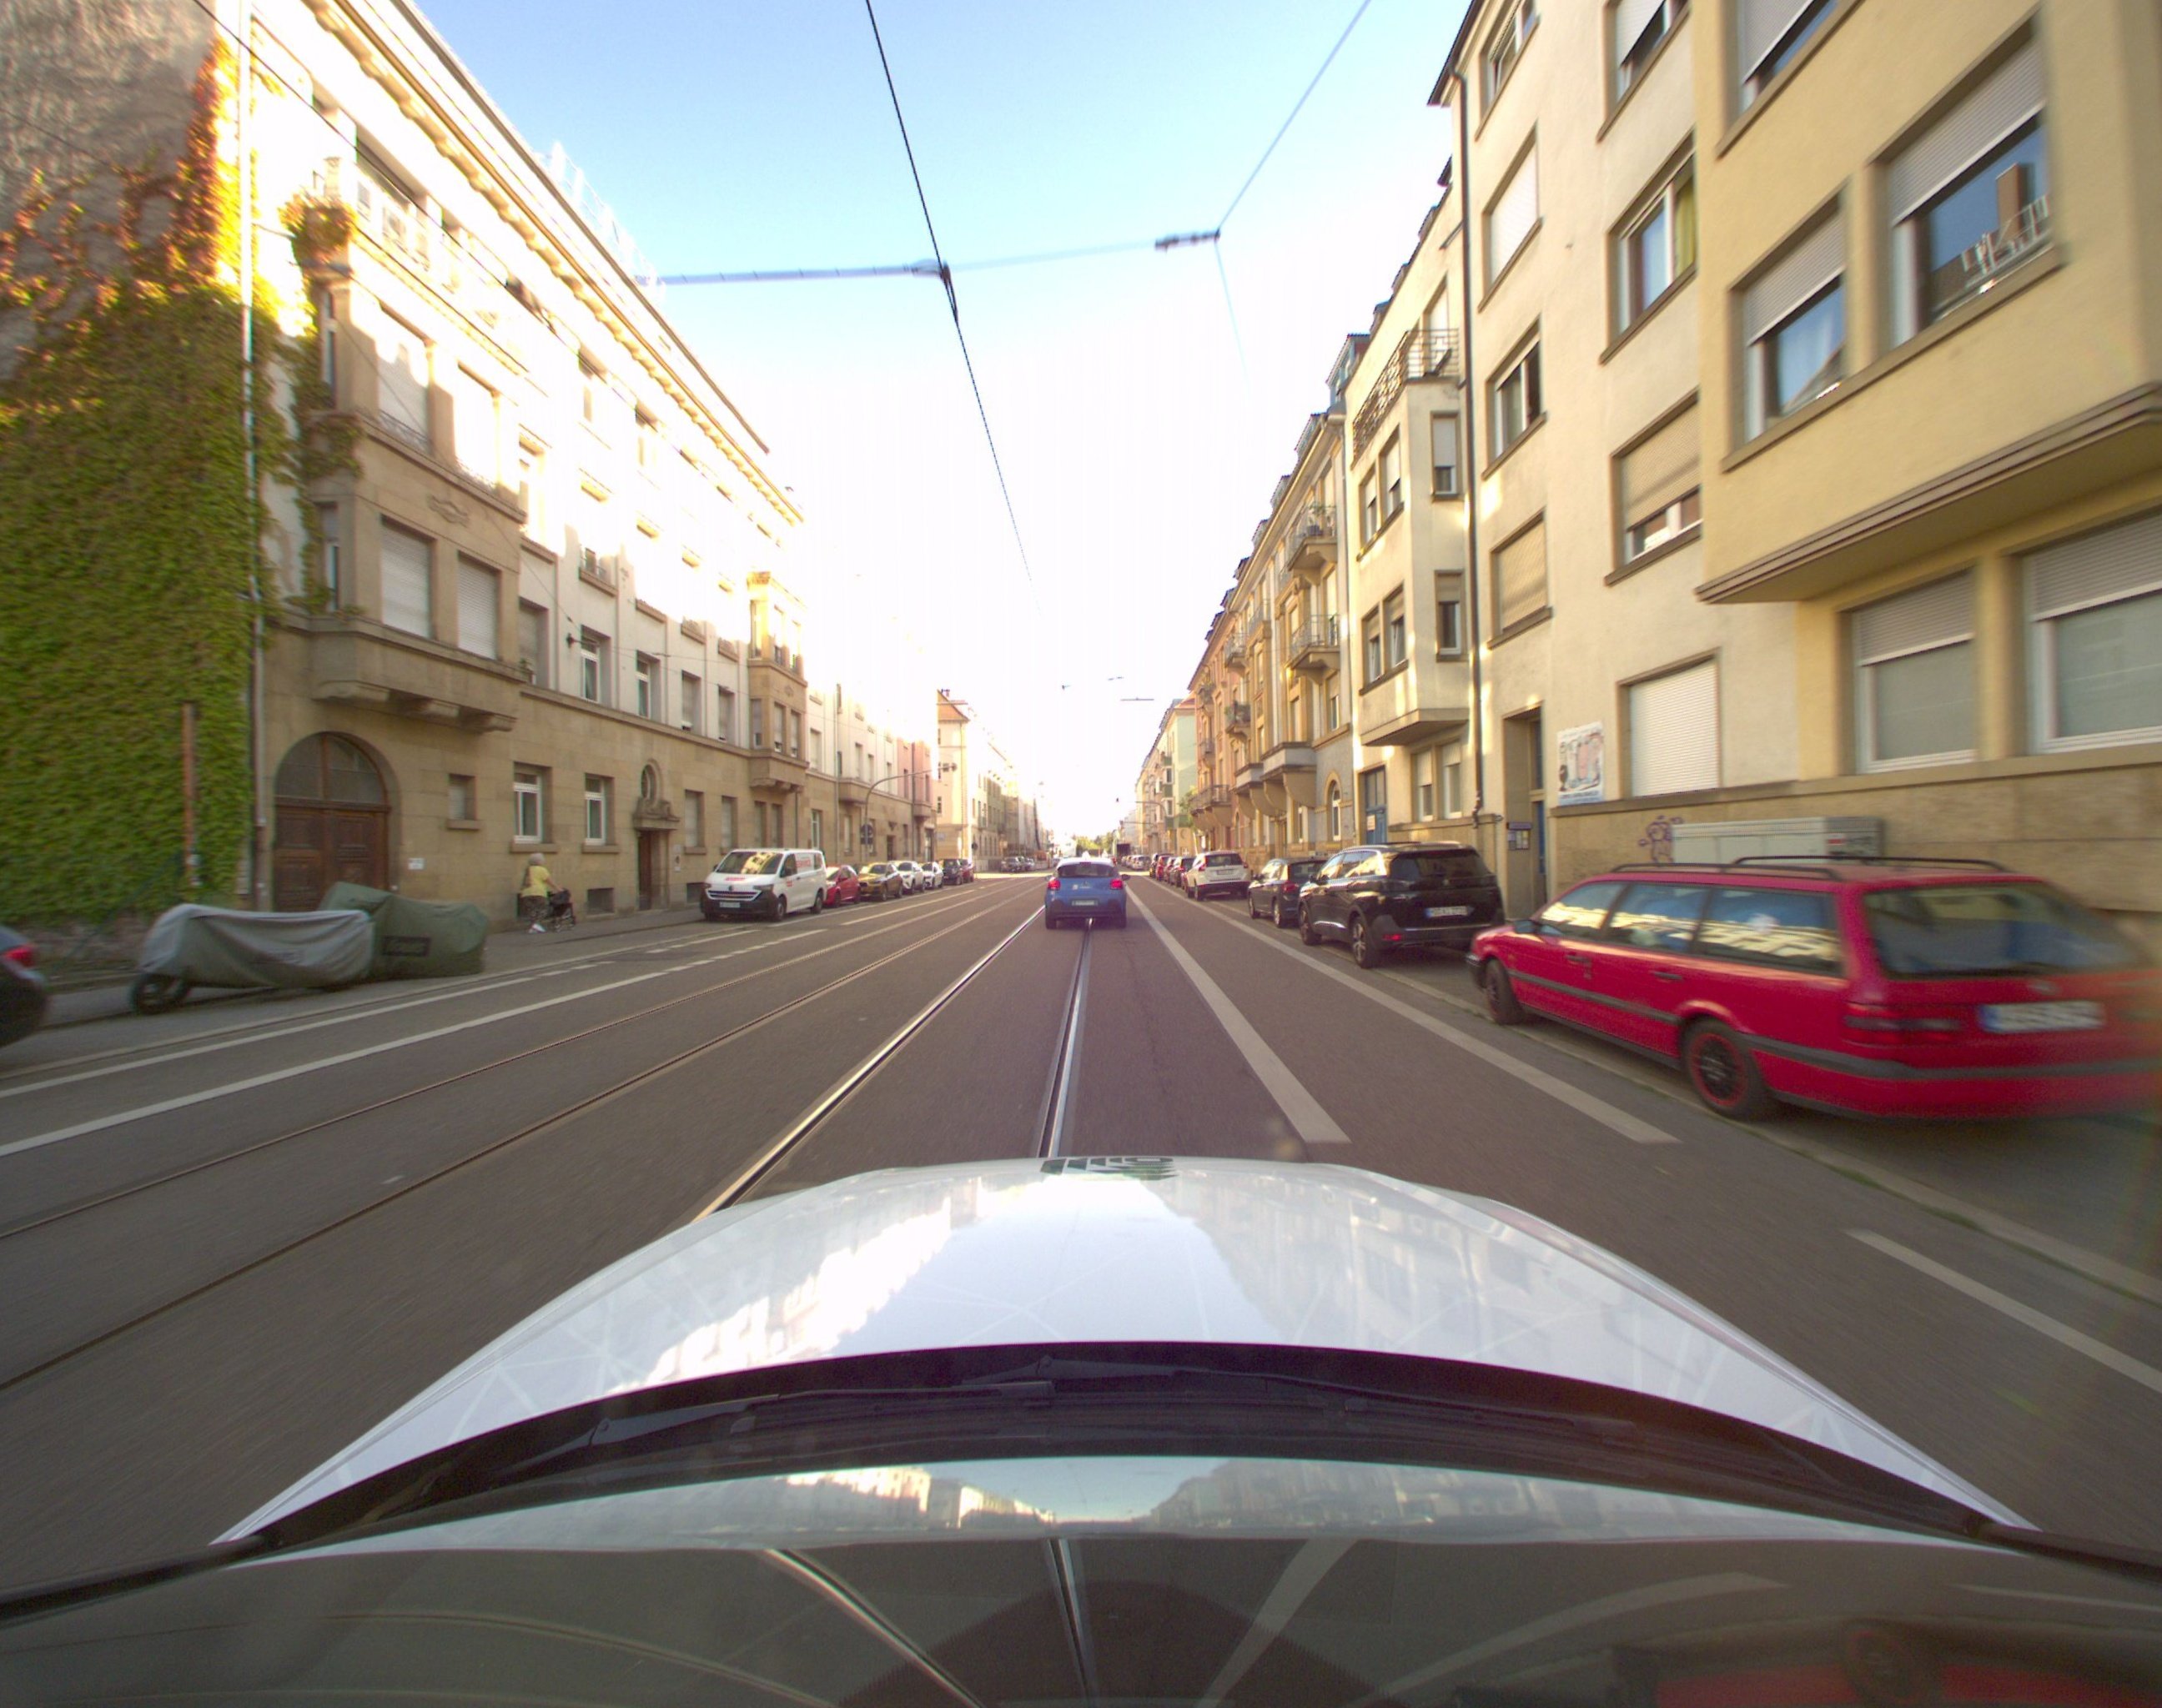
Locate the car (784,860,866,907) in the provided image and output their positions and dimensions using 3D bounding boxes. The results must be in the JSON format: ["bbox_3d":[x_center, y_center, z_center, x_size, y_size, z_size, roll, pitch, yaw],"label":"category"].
[{"bbox_3d":[-8.856,0.986,28.452,1.597,1.472,3.647,1,0,1],"label":"car"}]

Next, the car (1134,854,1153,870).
[{"bbox_3d":[6.420,0.799,83.877,1.777,1.632,4.002,-2,0,2],"label":"car"}]

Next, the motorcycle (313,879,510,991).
[{"bbox_3d":[-9.335,1.069,11.440,0.875,1.351,1.970,-1,0,34],"label":"motorcycle"}]

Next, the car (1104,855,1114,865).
[{"bbox_3d":[5.375,1.198,157.384,1.814,1.894,4.001,-1,0,1],"label":"car"}]

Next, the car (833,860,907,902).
[{"bbox_3d":[-8.414,1.026,32.787,1.777,1.523,4.360,1,0,0],"label":"car"}]

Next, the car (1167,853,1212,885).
[{"bbox_3d":[5.357,0.706,40.512,1.649,1.483,4.474,-1,0,0],"label":"car"}]

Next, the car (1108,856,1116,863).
[{"bbox_3d":[7.119,1.180,188.134,1.758,1.487,4.033,-2,0,2],"label":"car"}]

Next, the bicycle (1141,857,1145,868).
[{"bbox_3d":[5.998,0.787,79.018,0.351,1.044,1.730,-1,0,3],"label":"bicycle"}]

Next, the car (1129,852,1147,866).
[{"bbox_3d":[6.987,0.615,100.603,1.651,1.752,4.598,-2,0,-3],"label":"car"}]

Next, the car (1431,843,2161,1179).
[{"bbox_3d":[4.477,0.697,5.970,1.852,1.455,4.710,-1,0,1],"label":"car"}]

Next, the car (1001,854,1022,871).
[{"bbox_3d":[-7.189,0.817,84.248,1.778,1.690,4.666,1,0,-1],"label":"car"}]

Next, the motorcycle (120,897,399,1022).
[{"bbox_3d":[-9.537,1.154,9.583,0.732,1.171,2.194,-1,0,31],"label":"motorcycle"}]

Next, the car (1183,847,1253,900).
[{"bbox_3d":[4.777,0.654,28.974,1.836,1.691,4.506,-1,0,2],"label":"car"}]

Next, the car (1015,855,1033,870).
[{"bbox_3d":[-6.667,0.996,95.896,1.778,1.627,4.607,1,0,-1],"label":"car"}]

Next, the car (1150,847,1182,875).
[{"bbox_3d":[5.891,0.488,56.701,1.747,1.735,4.508,-5,0,2],"label":"car"}]

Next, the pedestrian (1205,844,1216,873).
[{"bbox_3d":[7.650,0.274,48.096,0.511,1.687,0.448,-1,0,1],"label":"pedestrian"}]

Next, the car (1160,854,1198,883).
[{"bbox_3d":[5.434,0.765,45.597,1.648,1.513,4.475,-1,0,2],"label":"car"}]

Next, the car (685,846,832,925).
[{"bbox_3d":[-8.835,0.792,22.903,1.966,1.949,5.252,1,0,0],"label":"car"}]

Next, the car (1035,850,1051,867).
[{"bbox_3d":[-5.574,0.689,119.108,2.138,2.475,4.978,0,0,-1],"label":"car"}]

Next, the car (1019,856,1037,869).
[{"bbox_3d":[-6.583,1.019,101.947,1.711,1.502,4.391,1,0,3],"label":"car"}]

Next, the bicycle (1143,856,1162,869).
[{"bbox_3d":[7.082,0.849,80.892,1.716,1.154,0.469,-5,0,1],"label":"bicycle"}]

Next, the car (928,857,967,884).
[{"bbox_3d":[-8.017,0.949,49.219,1.777,1.553,3.020,1,0,1],"label":"car"}]

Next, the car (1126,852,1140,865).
[{"bbox_3d":[7.199,0.623,112.992,1.724,1.827,4.688,-2,0,2],"label":"car"}]

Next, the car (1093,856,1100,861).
[{"bbox_3d":[4.595,1.355,241.957,1.819,1.632,4.492,-2,0,2],"label":"car"}]

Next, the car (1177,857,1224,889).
[{"bbox_3d":[5.163,0.782,35.546,1.647,1.249,4.509,-1,0,4],"label":"car"}]

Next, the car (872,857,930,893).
[{"bbox_3d":[-8.386,0.935,38.213,1.766,1.547,4.364,1,0,-1],"label":"car"}]

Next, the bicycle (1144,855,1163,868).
[{"bbox_3d":[6.962,0.744,78.523,1.716,1.154,0.469,-5,0,1],"label":"bicycle"}]

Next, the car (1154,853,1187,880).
[{"bbox_3d":[5.478,0.744,50.196,1.746,1.594,3.732,-1,0,3],"label":"car"}]

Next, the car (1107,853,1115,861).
[{"bbox_3d":[9.021,0.928,247.185,2.211,2.284,4.085,-2,0,2],"label":"car"}]

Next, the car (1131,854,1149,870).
[{"bbox_3d":[6.461,0.869,89.630,1.777,1.576,4.328,-2,0,2],"label":"car"}]

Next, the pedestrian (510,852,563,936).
[{"bbox_3d":[-11.424,0.834,17.107,0.677,1.724,0.616,-1,0,1],"label":"pedestrian"}]

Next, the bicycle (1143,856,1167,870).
[{"bbox_3d":[6.925,0.871,76.049,2.079,1.154,0.848,-4,0,1],"label":"bicycle"}]

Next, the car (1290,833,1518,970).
[{"bbox_3d":[4.619,0.597,12.475,1.851,1.665,4.565,-1,0,3],"label":"car"}]

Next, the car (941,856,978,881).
[{"bbox_3d":[-7.997,0.916,53.851,1.778,1.606,4.396,1,0,-1],"label":"car"}]

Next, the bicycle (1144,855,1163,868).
[{"bbox_3d":[6.963,0.735,77.975,1.716,1.154,0.469,-5,0,1],"label":"bicycle"}]

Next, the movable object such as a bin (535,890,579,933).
[{"bbox_3d":[-11.381,1.248,17.708,0.610,0.900,0.518,-1,0,1],"label":"movable object such as a bin"}]

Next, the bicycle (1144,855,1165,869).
[{"bbox_3d":[6.917,0.787,76.738,1.836,1.154,0.469,-5,0,1],"label":"bicycle"}]

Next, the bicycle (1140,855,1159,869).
[{"bbox_3d":[6.656,0.788,79.210,1.716,1.154,0.469,-5,0,1],"label":"bicycle"}]

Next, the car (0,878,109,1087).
[{"bbox_3d":[-9.246,0.991,4.612,1.775,1.565,4.614,1,0,3],"label":"car"}]

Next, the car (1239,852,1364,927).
[{"bbox_3d":[4.769,0.707,18.202,1.731,1.441,4.033,-1,0,1],"label":"car"}]

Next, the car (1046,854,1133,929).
[{"bbox_3d":[0.232,0.753,18.426,1.728,1.507,3.994,1,0,2],"label":"car"}]

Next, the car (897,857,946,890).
[{"bbox_3d":[-8.399,0.989,43.152,1.778,1.622,4.178,1,0,-1],"label":"car"}]

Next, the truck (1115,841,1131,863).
[{"bbox_3d":[8.041,-0.379,154.827,2.841,4.083,11.278,-2,0,3],"label":"truck"}]
